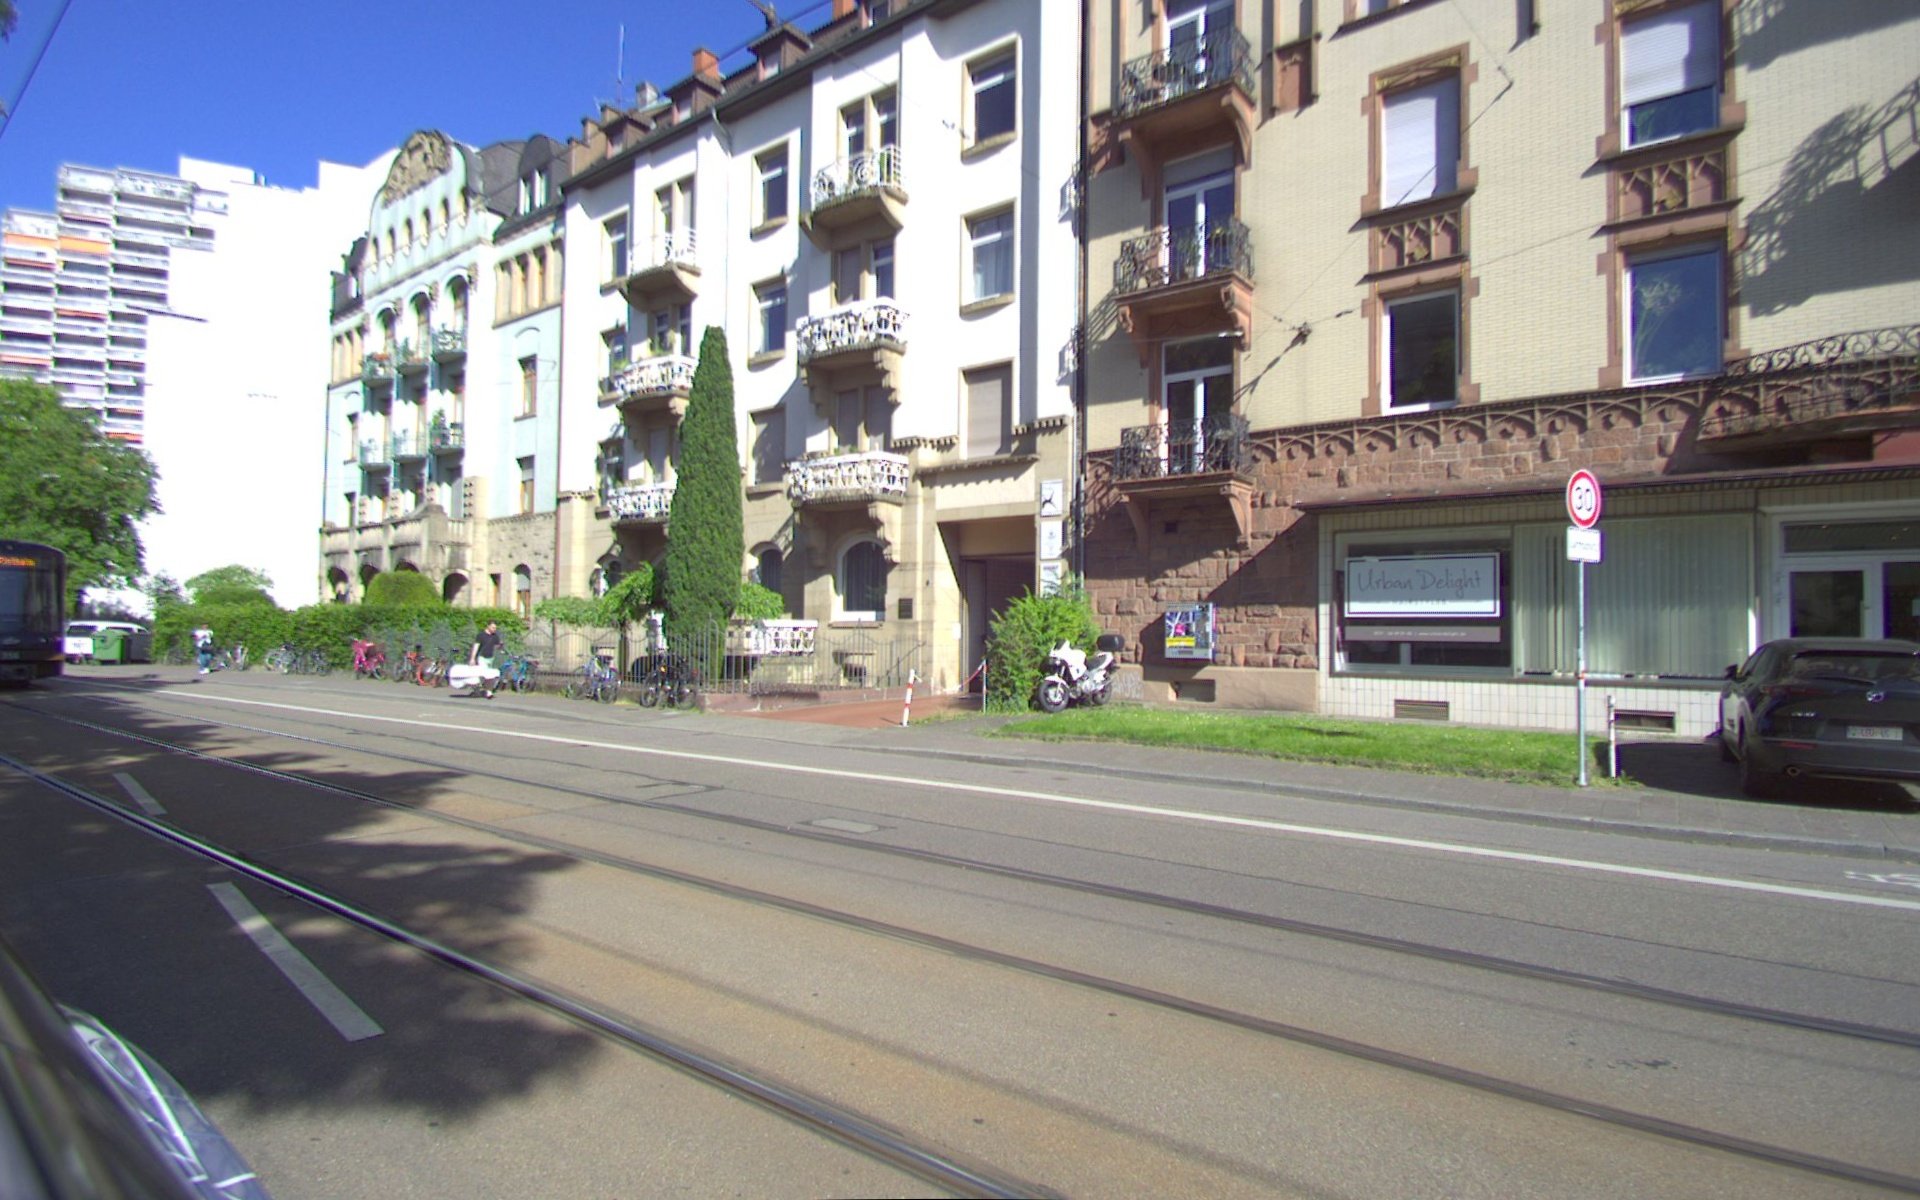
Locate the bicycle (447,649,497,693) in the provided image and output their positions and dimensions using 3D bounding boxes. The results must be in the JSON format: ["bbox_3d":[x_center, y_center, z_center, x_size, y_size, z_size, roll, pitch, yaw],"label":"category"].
[{"bbox_3d":[-11.441,1.647,23.714,1.647,0.949,0.400,-1,-1,40],"label":"bicycle"}]

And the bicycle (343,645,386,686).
[{"bbox_3d":[-16.063,1.740,27.291,1.815,1.031,0.400,-1,-1,40],"label":"bicycle"}]

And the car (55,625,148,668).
[{"bbox_3d":[-37.012,2.038,43.723,1.437,1.787,3.190,0,-4,-6],"label":"car"}]

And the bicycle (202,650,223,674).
[{"bbox_3d":[-25.995,2.150,35.181,1.262,0.767,0.293,-1,-1,40],"label":"bicycle"}]

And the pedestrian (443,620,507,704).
[{"bbox_3d":[-10.144,1.270,21.180,0.870,1.640,0.858,-1,3,40],"label":"pedestrian"}]

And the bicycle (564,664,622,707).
[{"bbox_3d":[-7.372,1.706,20.305,1.651,0.767,0.314,-1,-1,40],"label":"bicycle"}]

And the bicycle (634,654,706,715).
[{"bbox_3d":[-5.481,1.567,19.092,1.748,1.047,0.400,-1,-1,40],"label":"bicycle"}]

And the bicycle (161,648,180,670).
[{"bbox_3d":[-29.735,2.226,38.104,1.262,0.767,0.293,-1,-1,40],"label":"bicycle"}]

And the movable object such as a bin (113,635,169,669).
[{"bbox_3d":[-34.630,2.171,42.790,2.094,1.326,1.482,-1,-1,40],"label":"movable object such as a bin"}]

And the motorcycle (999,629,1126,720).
[{"bbox_3d":[1.919,1.276,18.254,0.822,1.467,3.056,-1,-1,37],"label":"motorcycle"}]

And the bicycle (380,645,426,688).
[{"bbox_3d":[-14.261,1.686,25.874,1.815,1.031,0.400,-1,-1,40],"label":"bicycle"}]

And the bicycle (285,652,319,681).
[{"bbox_3d":[-19.532,1.965,30.029,1.580,0.767,0.400,-1,-1,40],"label":"bicycle"}]

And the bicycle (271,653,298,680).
[{"bbox_3d":[-20.691,2.030,30.984,1.262,0.767,0.335,-1,-1,40],"label":"bicycle"}]

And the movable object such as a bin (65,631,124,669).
[{"bbox_3d":[-34.948,2.002,40.863,2.094,1.443,1.493,-1,-1,40],"label":"movable object such as a bin"}]

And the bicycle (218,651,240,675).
[{"bbox_3d":[-24.607,2.124,34.065,1.262,0.767,0.314,-1,-1,40],"label":"bicycle"}]

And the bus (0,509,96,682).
[{"bbox_3d":[-25.753,-0.063,26.125,12.180,3.806,2.823,0,-1,38],"label":"bus"}]

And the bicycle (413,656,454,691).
[{"bbox_3d":[-12.891,1.784,24.762,1.541,0.767,0.314,-1,-1,40],"label":"bicycle"}]

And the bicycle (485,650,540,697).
[{"bbox_3d":[-9.989,1.619,22.561,1.748,0.949,0.400,-1,-1,40],"label":"bicycle"}]

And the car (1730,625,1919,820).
[{"bbox_3d":[9.180,1.090,10.352,1.767,1.514,3.955,0,1,33],"label":"car"}]

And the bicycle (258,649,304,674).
[{"bbox_3d":[-22.587,2.047,33.679,0.297,0.799,1.246,-1,-1,40],"label":"bicycle"}]

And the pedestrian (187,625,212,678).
[{"bbox_3d":[-24.334,1.639,32.392,0.659,1.641,0.469,-1,-2,40],"label":"pedestrian"}]
